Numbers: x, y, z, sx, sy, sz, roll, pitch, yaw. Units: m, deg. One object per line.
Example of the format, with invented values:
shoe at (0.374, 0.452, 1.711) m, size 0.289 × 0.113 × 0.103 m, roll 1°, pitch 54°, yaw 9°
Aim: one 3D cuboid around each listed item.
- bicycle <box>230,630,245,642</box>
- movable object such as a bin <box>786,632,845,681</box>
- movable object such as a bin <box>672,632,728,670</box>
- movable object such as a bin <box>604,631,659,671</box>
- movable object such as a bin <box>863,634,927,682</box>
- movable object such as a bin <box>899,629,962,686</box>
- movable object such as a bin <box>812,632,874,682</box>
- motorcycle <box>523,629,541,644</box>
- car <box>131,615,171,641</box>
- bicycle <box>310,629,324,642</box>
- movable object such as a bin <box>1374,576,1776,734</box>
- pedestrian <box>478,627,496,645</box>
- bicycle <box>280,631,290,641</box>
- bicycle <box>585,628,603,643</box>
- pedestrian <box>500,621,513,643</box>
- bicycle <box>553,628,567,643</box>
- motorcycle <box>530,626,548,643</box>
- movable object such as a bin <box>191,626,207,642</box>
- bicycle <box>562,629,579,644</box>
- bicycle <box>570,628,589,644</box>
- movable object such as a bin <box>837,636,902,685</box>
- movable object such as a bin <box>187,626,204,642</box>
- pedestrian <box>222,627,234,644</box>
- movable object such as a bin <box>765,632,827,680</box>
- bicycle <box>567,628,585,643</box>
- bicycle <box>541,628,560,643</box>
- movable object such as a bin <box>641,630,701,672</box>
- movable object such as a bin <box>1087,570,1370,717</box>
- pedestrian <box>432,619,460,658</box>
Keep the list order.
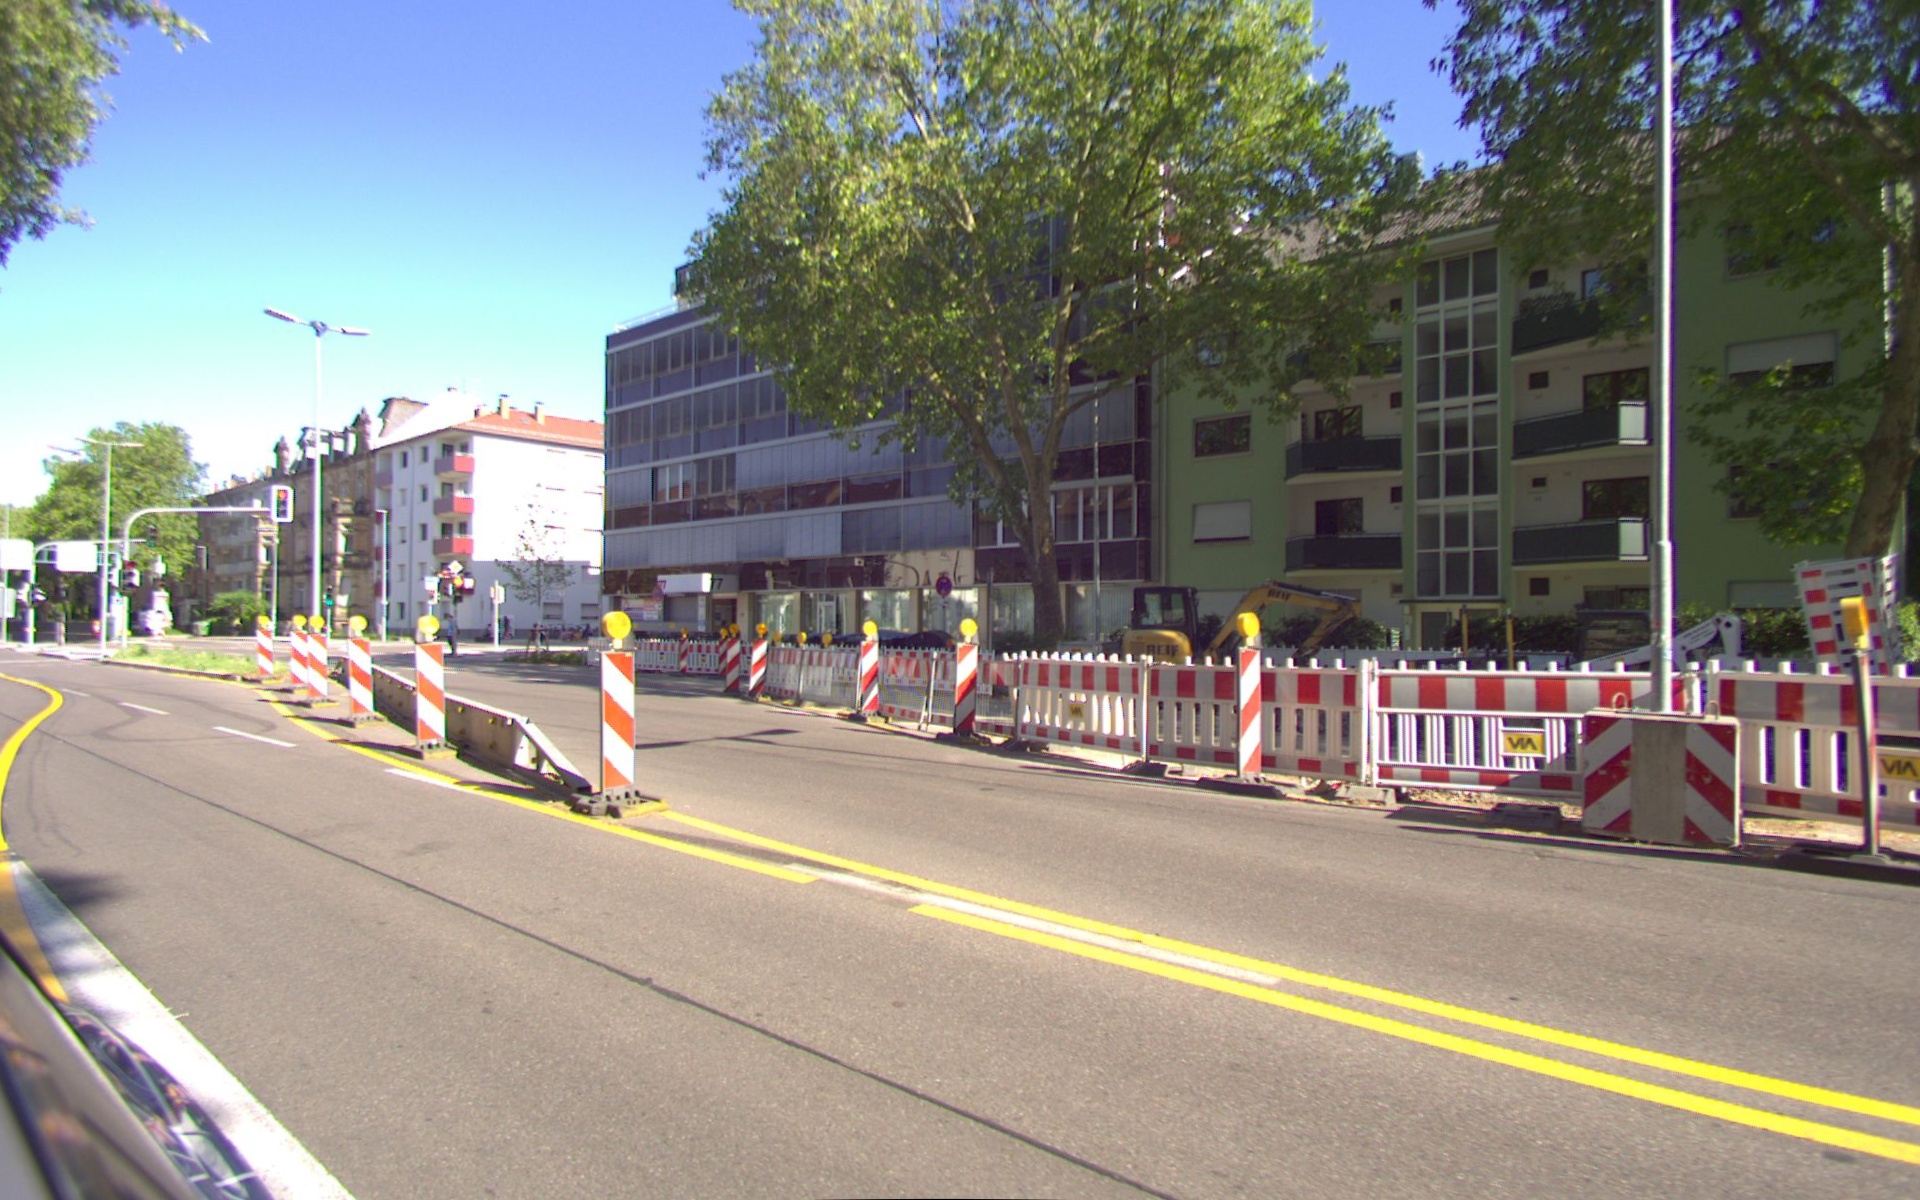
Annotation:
bicycle at (-62.856, 3.102, 88.014) m, size 2.247 × 1.013 × 0.462 m, roll -2°, pitch -1°, yaw 39°
movable object such as a bin at (-4.146, 1.610, 29.086) m, size 0.936 × 1.348 × 1.395 m, roll -1°, pitch -2°, yaw 42°
movable object such as a bin at (-8.633, 1.686, 33.617) m, size 1.241 × 1.212 × 1.379 m, roll -1°, pitch -2°, yaw 43°
movable object such as a bin at (-11.754, 1.808, 36.231) m, size 1.855 × 1.399 × 1.102 m, roll -1°, pitch -2°, yaw 42°
movable object such as a bin at (-1.817, 1.609, 28.222) m, size 1.539 × 1.280 × 0.969 m, roll -1°, pitch -2°, yaw 40°
movable object such as a bin at (-0.760, 1.477, 26.658) m, size 1.251 × 1.433 × 1.627 m, roll -1°, pitch -1°, yaw 15°
movable object such as a bin at (-3.291, 1.578, 28.498) m, size 1.068 × 1.348 × 1.395 m, roll -1°, pitch -2°, yaw 42°
motorcycle at (-27.992, 2.390, 66.169) m, size 0.497 × 0.943 × 1.844 m, roll 1°, pitch -2°, yaw -42°
car at (-81.345, 2.827, 101.757) m, size 5.284 × 2.465 × 2.221 m, roll -3°, pitch -5°, yaw 41°
bicycle at (-47.912, 2.663, 75.376) m, size 1.939 × 0.965 × 0.301 m, roll -2°, pitch -2°, yaw 41°
movable object such as a bin at (10.282, 0.870, 17.328) m, size 5.599 × 2.296 × 1.972 m, roll -1°, pitch -3°, yaw 43°
pedestrian at (-29.892, 2.268, 63.994) m, size 0.785 × 1.162 × 0.712 m, roll -1°, pitch -2°, yaw 28°
bicycle at (-53.505, 2.822, 80.217) m, size 1.413 × 0.777 × 0.296 m, roll -2°, pitch -2°, yaw 41°
bicycle at (-24.945, 2.441, 69.024) m, size 0.502 × 1.011 × 1.737 m, roll 1°, pitch -2°, yaw -44°
pedestrian at (-30.787, 2.187, 68.756) m, size 0.695 × 1.508 × 0.593 m, roll -2°, pitch -2°, yaw 44°
bicycle at (-26.542, 2.358, 67.066) m, size 0.500 × 0.985 × 1.890 m, roll 1°, pitch -2°, yaw -33°
motorcycle at (-28.178, 2.311, 67.755) m, size 0.604 × 1.150 × 1.786 m, roll 1°, pitch -2°, yaw -40°
movable object such as a bin at (-70.634, 3.151, 93.893) m, size 1.473 × 1.371 × 0.883 m, roll -3°, pitch -5°, yaw 42°
bicycle at (-25.876, 2.417, 67.224) m, size 0.471 × 0.955 × 1.954 m, roll 1°, pitch -2°, yaw -40°
bicycle at (-25.626, 2.420, 68.211) m, size 1.736 × 1.077 × 0.483 m, roll -2°, pitch -2°, yaw 43°
movable object such as a bin at (-2.468, 1.615, 27.454) m, size 1.539 × 1.280 × 0.969 m, roll -1°, pitch -2°, yaw 40°
movable object such as a bin at (-71.649, 3.199, 94.848) m, size 1.313 × 1.373 × 0.884 m, roll -3°, pitch -5°, yaw 40°
pedestrian at (-63.251, 3.063, 87.430) m, size 1.089 × 1.388 × 0.561 m, roll 0°, pitch -2°, yaw 39°
movable object such as a bin at (-4.846, 1.643, 29.939) m, size 1.156 × 1.348 × 1.395 m, roll -1°, pitch -2°, yaw 42°
bicycle at (-26.925, 2.495, 70.966) m, size 0.567 × 1.066 × 1.691 m, roll 1°, pitch -2°, yaw -44°
bicycle at (-28.129, 2.422, 69.557) m, size 0.567 × 0.976 × 1.737 m, roll 1°, pitch -2°, yaw -44°
movable object such as a bin at (-9.925, 1.736, 34.780) m, size 1.855 × 1.399 × 1.201 m, roll -1°, pitch -2°, yaw 42°
movable object such as a bin at (5.532, 0.857, 21.281) m, size 5.347 × 2.727 × 2.126 m, roll -1°, pitch -1°, yaw 38°
pedestrian at (-22.983, 1.712, 45.242) m, size 0.854 × 1.724 × 1.013 m, roll 1°, pitch -2°, yaw -42°
